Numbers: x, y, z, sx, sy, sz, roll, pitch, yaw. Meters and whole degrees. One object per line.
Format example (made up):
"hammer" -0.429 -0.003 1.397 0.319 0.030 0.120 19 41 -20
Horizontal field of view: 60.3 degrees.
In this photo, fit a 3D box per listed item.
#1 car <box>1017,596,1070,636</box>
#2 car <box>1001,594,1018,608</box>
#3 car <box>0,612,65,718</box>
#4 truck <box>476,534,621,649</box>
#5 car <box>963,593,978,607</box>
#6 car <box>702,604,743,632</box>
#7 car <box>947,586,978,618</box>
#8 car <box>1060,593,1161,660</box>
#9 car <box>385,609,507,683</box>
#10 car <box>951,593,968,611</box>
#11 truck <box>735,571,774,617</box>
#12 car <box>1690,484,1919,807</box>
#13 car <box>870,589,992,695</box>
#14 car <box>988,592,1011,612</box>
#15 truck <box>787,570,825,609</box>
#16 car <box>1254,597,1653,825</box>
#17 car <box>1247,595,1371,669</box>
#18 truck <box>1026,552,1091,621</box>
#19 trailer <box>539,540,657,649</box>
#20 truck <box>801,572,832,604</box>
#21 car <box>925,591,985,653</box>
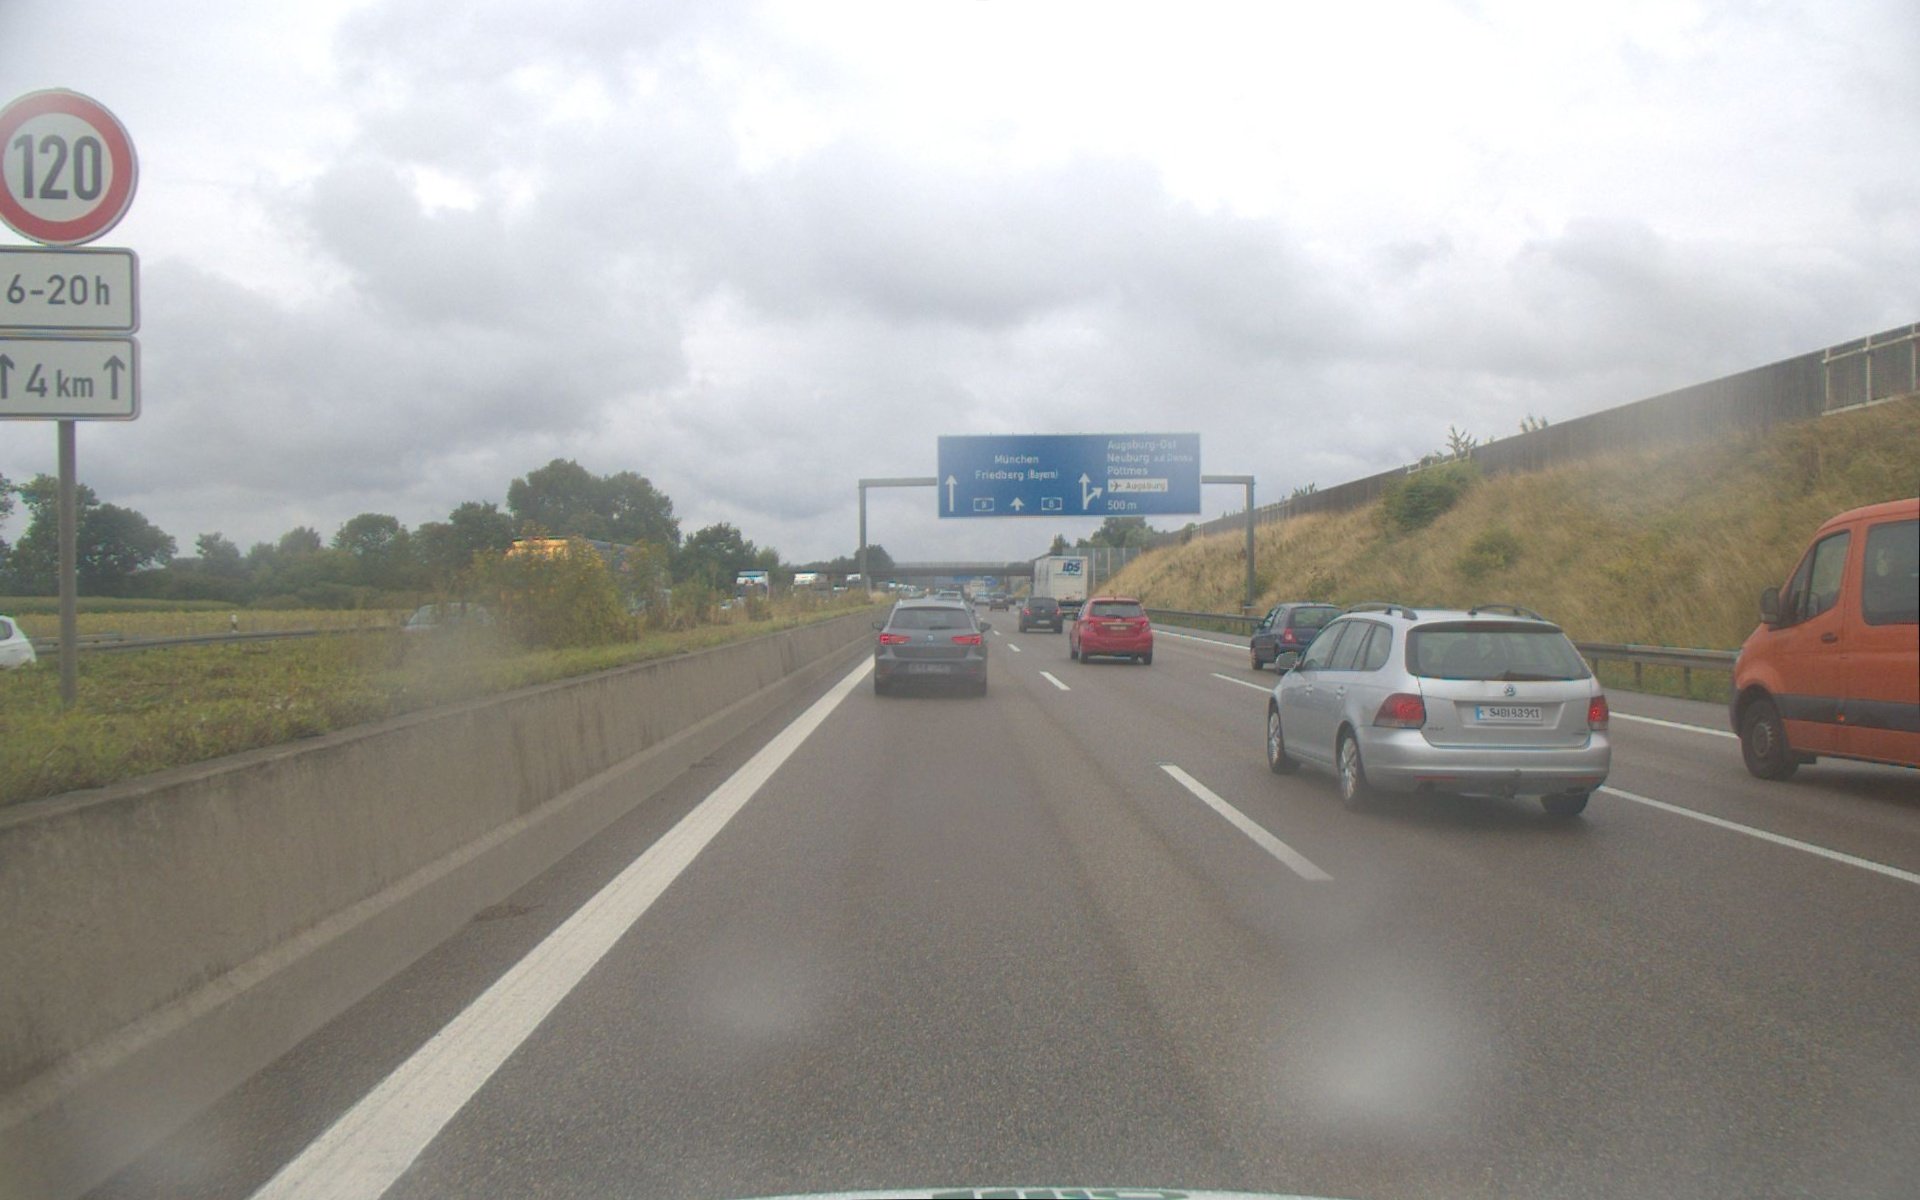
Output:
"car" 3.390 0.627 67.727 1.882 1.548 4.621 0 0 -1
"car" 6.744 0.160 225.031 1.954 1.892 4.388 0 0 -3
"car" -16.685 1.056 27.004 1.953 1.713 3.999 1 0 -1
"truck" -17.180 -0.311 70.010 3.343 4.440 10.989 1 0 0
"car" 1.520 -0.013 241.186 1.954 2.049 3.997 -1 0 -3
"car" -14.711 1.074 102.680 1.844 1.644 5.013 -1 0 -1
"car" 0.128 0.095 98.171 1.670 1.828 3.853 -2 0 -2
"car" 3.469 0.569 38.941 1.852 1.472 4.684 0 0 -1
"car" -12.614 1.089 40.816 1.779 1.681 3.999 1 0 -1
"car" -0.086 0.261 200.614 1.953 2.049 4.241 1 0 0
"truck" -17.558 -0.588 141.771 2.587 3.790 5.872 1 1 0
"car" 8.022 0.330 12.604 2.044 2.355 6.179 0 0 -2
"car" -0.478 0.607 25.761 1.733 1.493 3.998 1 0 -2
"car" 3.525 0.215 148.230 1.808 1.716 3.998 1 0 -2
"truck" -17.486 -1.181 188.514 3.541 4.349 7.591 1 0 0
"car" 3.603 0.714 12.973 1.706 1.450 4.516 -1 0 -1
"car" 7.133 0.632 34.135 1.668 1.426 3.874 1 0 -1
"truck" 6.760 -0.832 116.678 3.216 4.370 19.030 1 0 -1
"trailer" -17.262 -0.279 79.822 3.318 4.852 11.678 1 0 -1
"truck" -13.722 -1.114 158.165 2.264 2.959 7.423 1 0 0
"car" -0.180 0.652 50.744 1.718 1.780 3.999 1 0 -1
